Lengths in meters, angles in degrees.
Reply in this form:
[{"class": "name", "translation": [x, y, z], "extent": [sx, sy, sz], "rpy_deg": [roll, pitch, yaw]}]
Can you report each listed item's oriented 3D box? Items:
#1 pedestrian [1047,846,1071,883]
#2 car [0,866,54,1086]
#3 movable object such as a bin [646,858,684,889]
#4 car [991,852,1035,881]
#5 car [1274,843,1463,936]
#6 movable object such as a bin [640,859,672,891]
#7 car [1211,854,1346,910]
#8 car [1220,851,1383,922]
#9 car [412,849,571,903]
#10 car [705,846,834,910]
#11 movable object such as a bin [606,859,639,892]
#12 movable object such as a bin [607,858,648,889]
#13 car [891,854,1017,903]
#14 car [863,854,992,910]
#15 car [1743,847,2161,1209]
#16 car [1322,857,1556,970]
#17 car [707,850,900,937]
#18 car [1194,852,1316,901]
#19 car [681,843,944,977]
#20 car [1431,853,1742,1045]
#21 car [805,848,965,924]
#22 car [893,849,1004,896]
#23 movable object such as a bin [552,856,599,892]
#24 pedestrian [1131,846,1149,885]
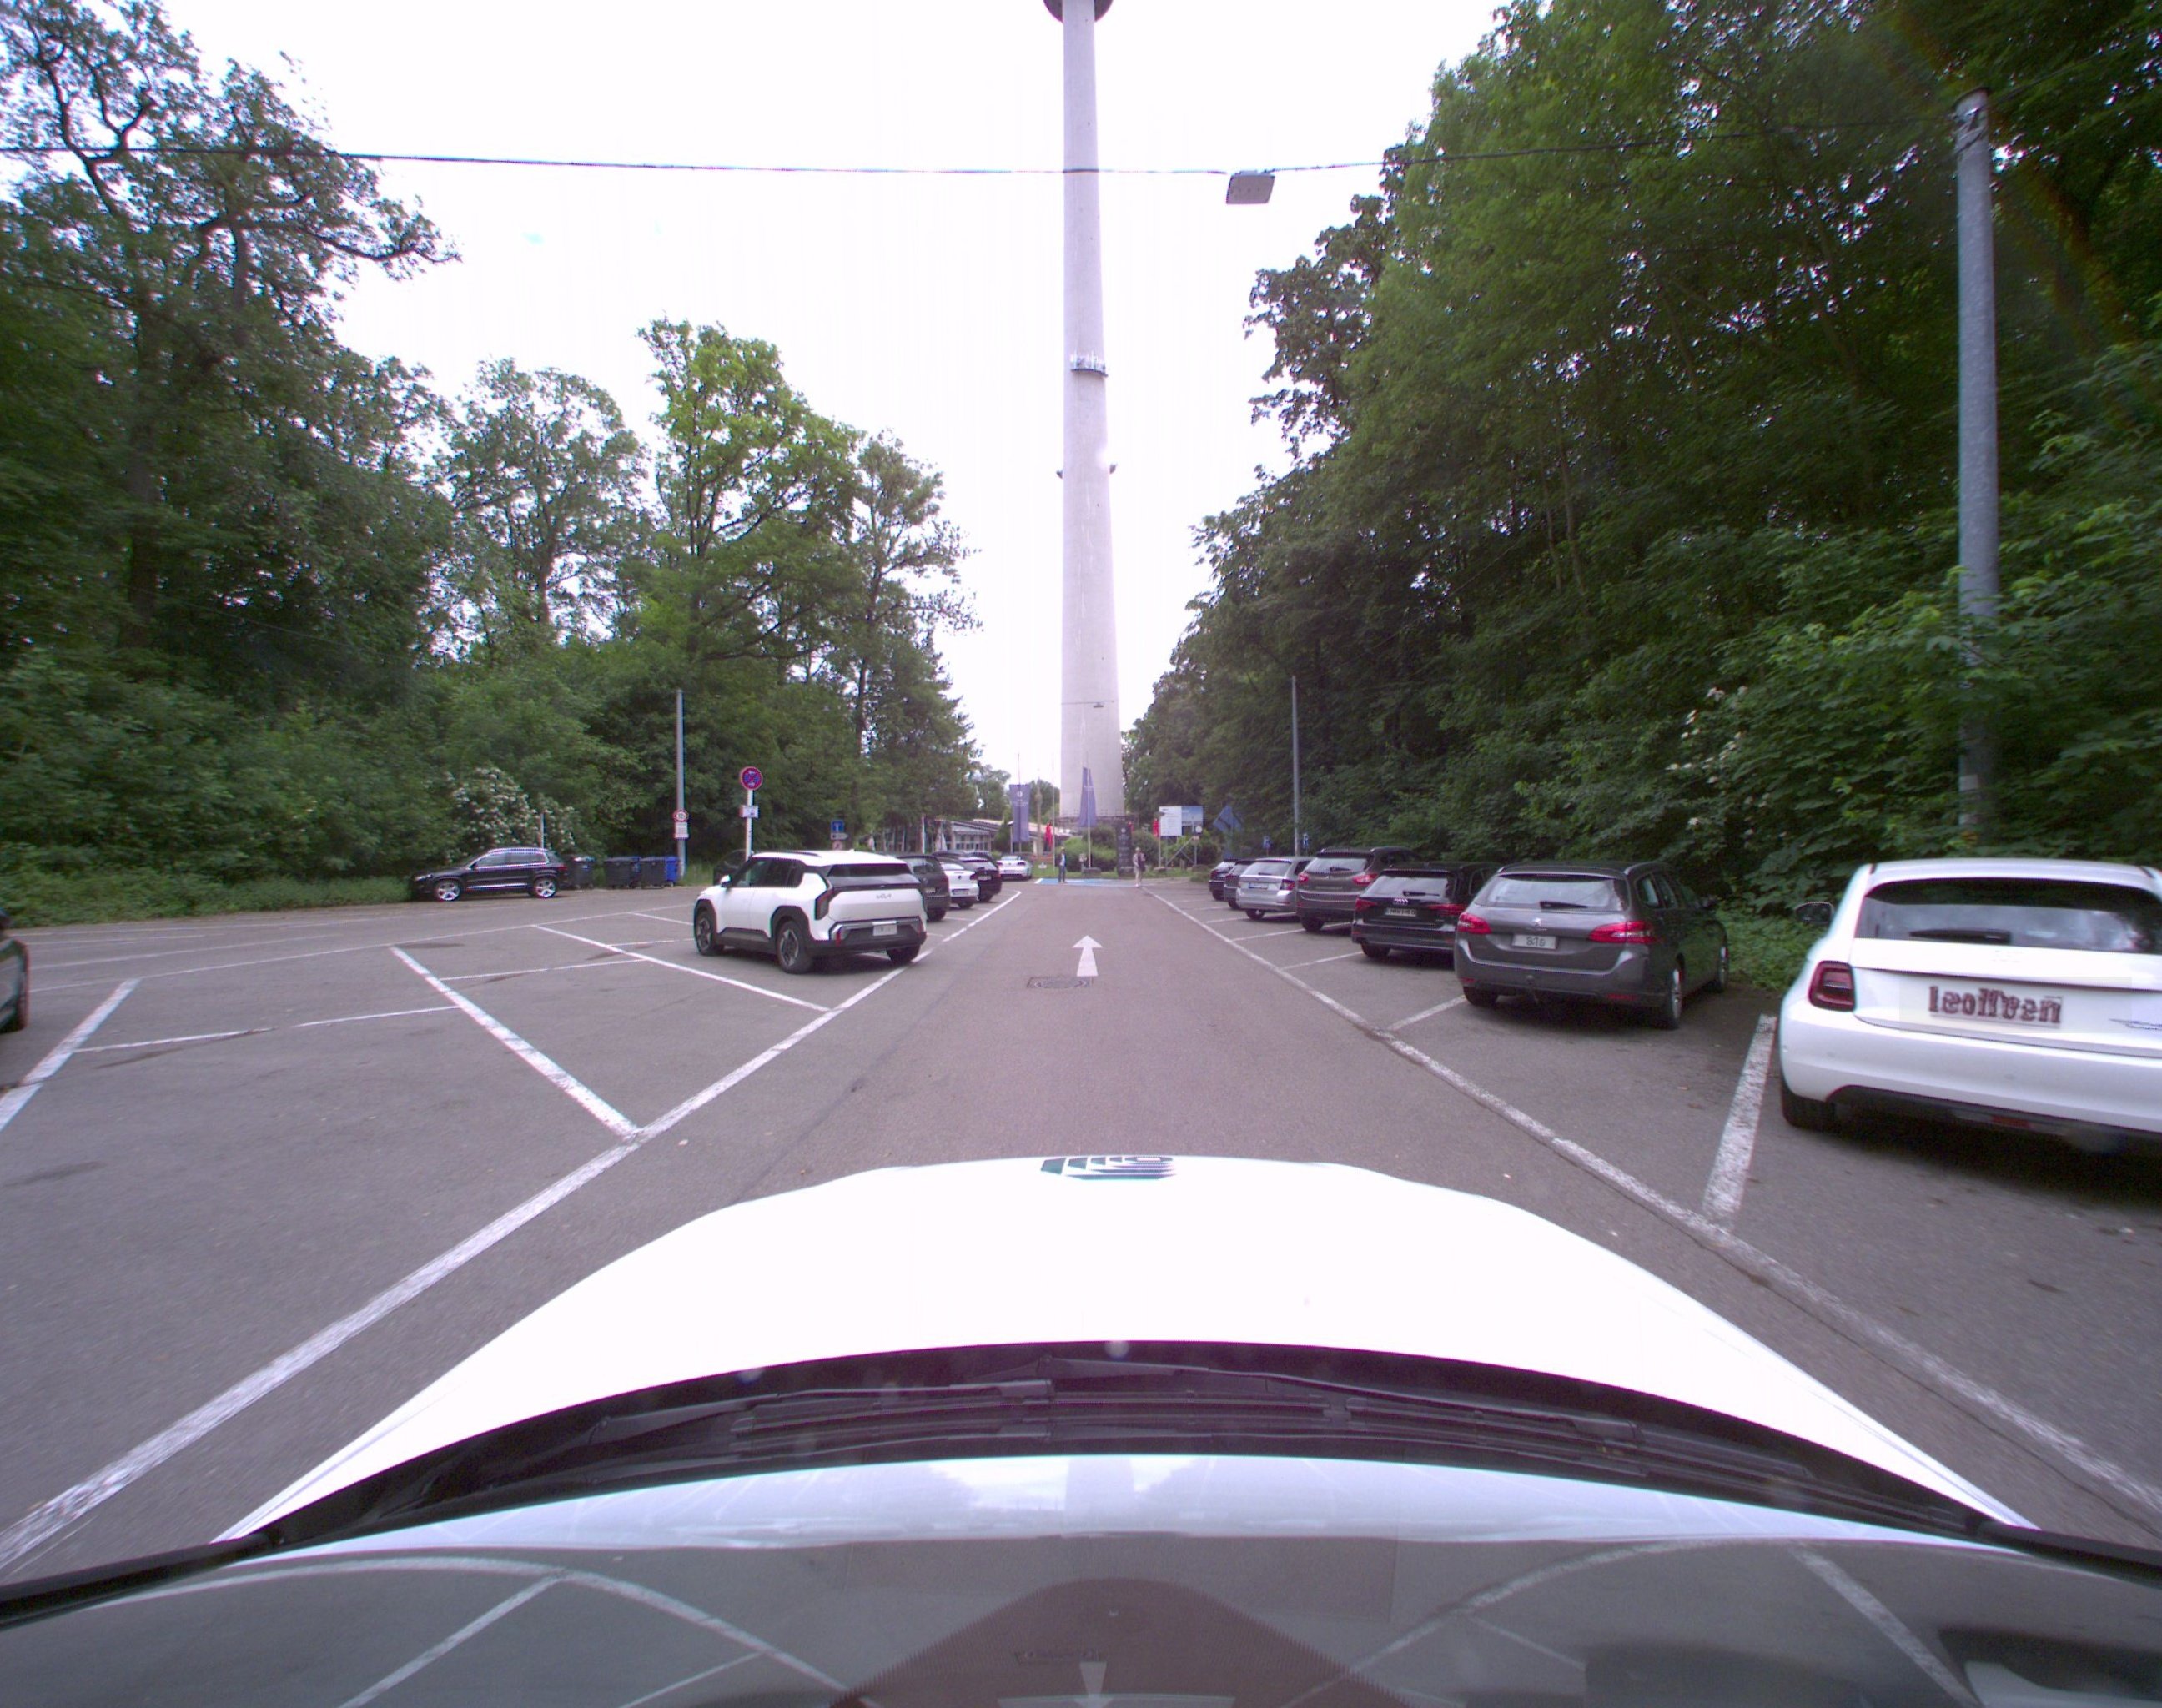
[{"class": "pedestrian", "translation": [-1.046, 0.499, 38.860], "extent": [0.885, 1.725, 0.769], "rpy_deg": [0, 0, 32]}, {"class": "car", "translation": [-8.595, 0.828, 5.428], "extent": [4.261, 1.442, 1.881], "rpy_deg": [0, 0, 42]}, {"class": "movable object such as a bin", "translation": [-18.574, 0.866, 36.411], "extent": [1.254, 1.325, 1.142], "rpy_deg": [-1, 0, -12]}, {"class": "car", "translation": [-3.537, 0.643, 43.080], "extent": [1.886, 1.428, 4.002], "rpy_deg": [0, 0, 1]}, {"class": "car", "translation": [5.938, 0.617, 16.551], "extent": [4.287, 1.636, 1.941], "rpy_deg": [-1, 0, -45]}, {"class": "movable object such as a bin", "translation": [-17.812, 0.853, 34.109], "extent": [1.176, 1.307, 1.301], "rpy_deg": [-1, 0, -29]}, {"class": "car", "translation": [5.618, 0.722, 22.942], "extent": [1.886, 1.422, 4.023], "rpy_deg": [0, 0, 45]}, {"class": "car", "translation": [5.317, 0.686, 19.432], "extent": [4.021, 1.467, 1.813], "rpy_deg": [-1, 1, -41]}, {"class": "car", "translation": [-19.561, 0.672, 27.125], "extent": [4.094, 1.685, 1.857], "rpy_deg": [0, 0, -44]}, {"class": "car", "translation": [-8.952, 0.627, 23.237], "extent": [3.950, 1.663, 1.910], "rpy_deg": [0, 0, 43]}, {"class": "movable object such as a bin", "translation": [-18.868, 0.873, 33.536], "extent": [1.130, 1.314, 1.173], "rpy_deg": [-1, 0, -29]}, {"class": "movable object such as a bin", "translation": [-19.672, 0.844, 35.386], "extent": [1.121, 1.320, 1.238], "rpy_deg": [-1, 0, -4]}, {"class": "car", "translation": [-4.150, 0.718, 26.169], "extent": [4.225, 1.443, 1.770], "rpy_deg": [0, 0, 43]}, {"class": "car", "translation": [-4.423, 0.743, 23.121], "extent": [1.783, 1.443, 3.798], "rpy_deg": [0, 0, -44]}, {"class": "car", "translation": [5.504, 0.723, 5.018], "extent": [3.602, 1.505, 1.714], "rpy_deg": [-1, 0, -43]}, {"class": "car", "translation": [5.589, 0.749, 12.411], "extent": [1.941, 1.377, 4.288], "rpy_deg": [0, 0, 43]}, {"class": "car", "translation": [-5.725, 0.723, 16.650], "extent": [3.948, 1.554, 1.885], "rpy_deg": [0, 0, 38]}, {"class": "car", "translation": [5.786, 0.682, 26.790], "extent": [4.229, 1.462, 1.876], "rpy_deg": [0, 0, -44]}, {"class": "car", "translation": [-4.030, 0.671, 11.885], "extent": [4.137, 1.596, 1.858], "rpy_deg": [0, 0, 43]}, {"class": "car", "translation": [5.388, 0.737, 8.426], "extent": [4.211, 1.457, 1.782], "rpy_deg": [-1, 0, -45]}, {"class": "car", "translation": [-4.661, 0.662, 19.101], "extent": [3.928, 1.587, 1.858], "rpy_deg": [0, 1, 45]}, {"class": "car", "translation": [-4.978, 0.631, 30.183], "extent": [4.333, 1.608, 1.840], "rpy_deg": [0, 0, 44]}, {"class": "movable object such as a bin", "translation": [-20.423, 0.809, 32.931], "extent": [1.118, 1.425, 1.132], "rpy_deg": [-1, 0, 4]}, {"class": "pedestrian", "translation": [2.625, 0.512, 36.117], "extent": [0.758, 1.725, 0.898], "rpy_deg": [0, 0, 3]}]
